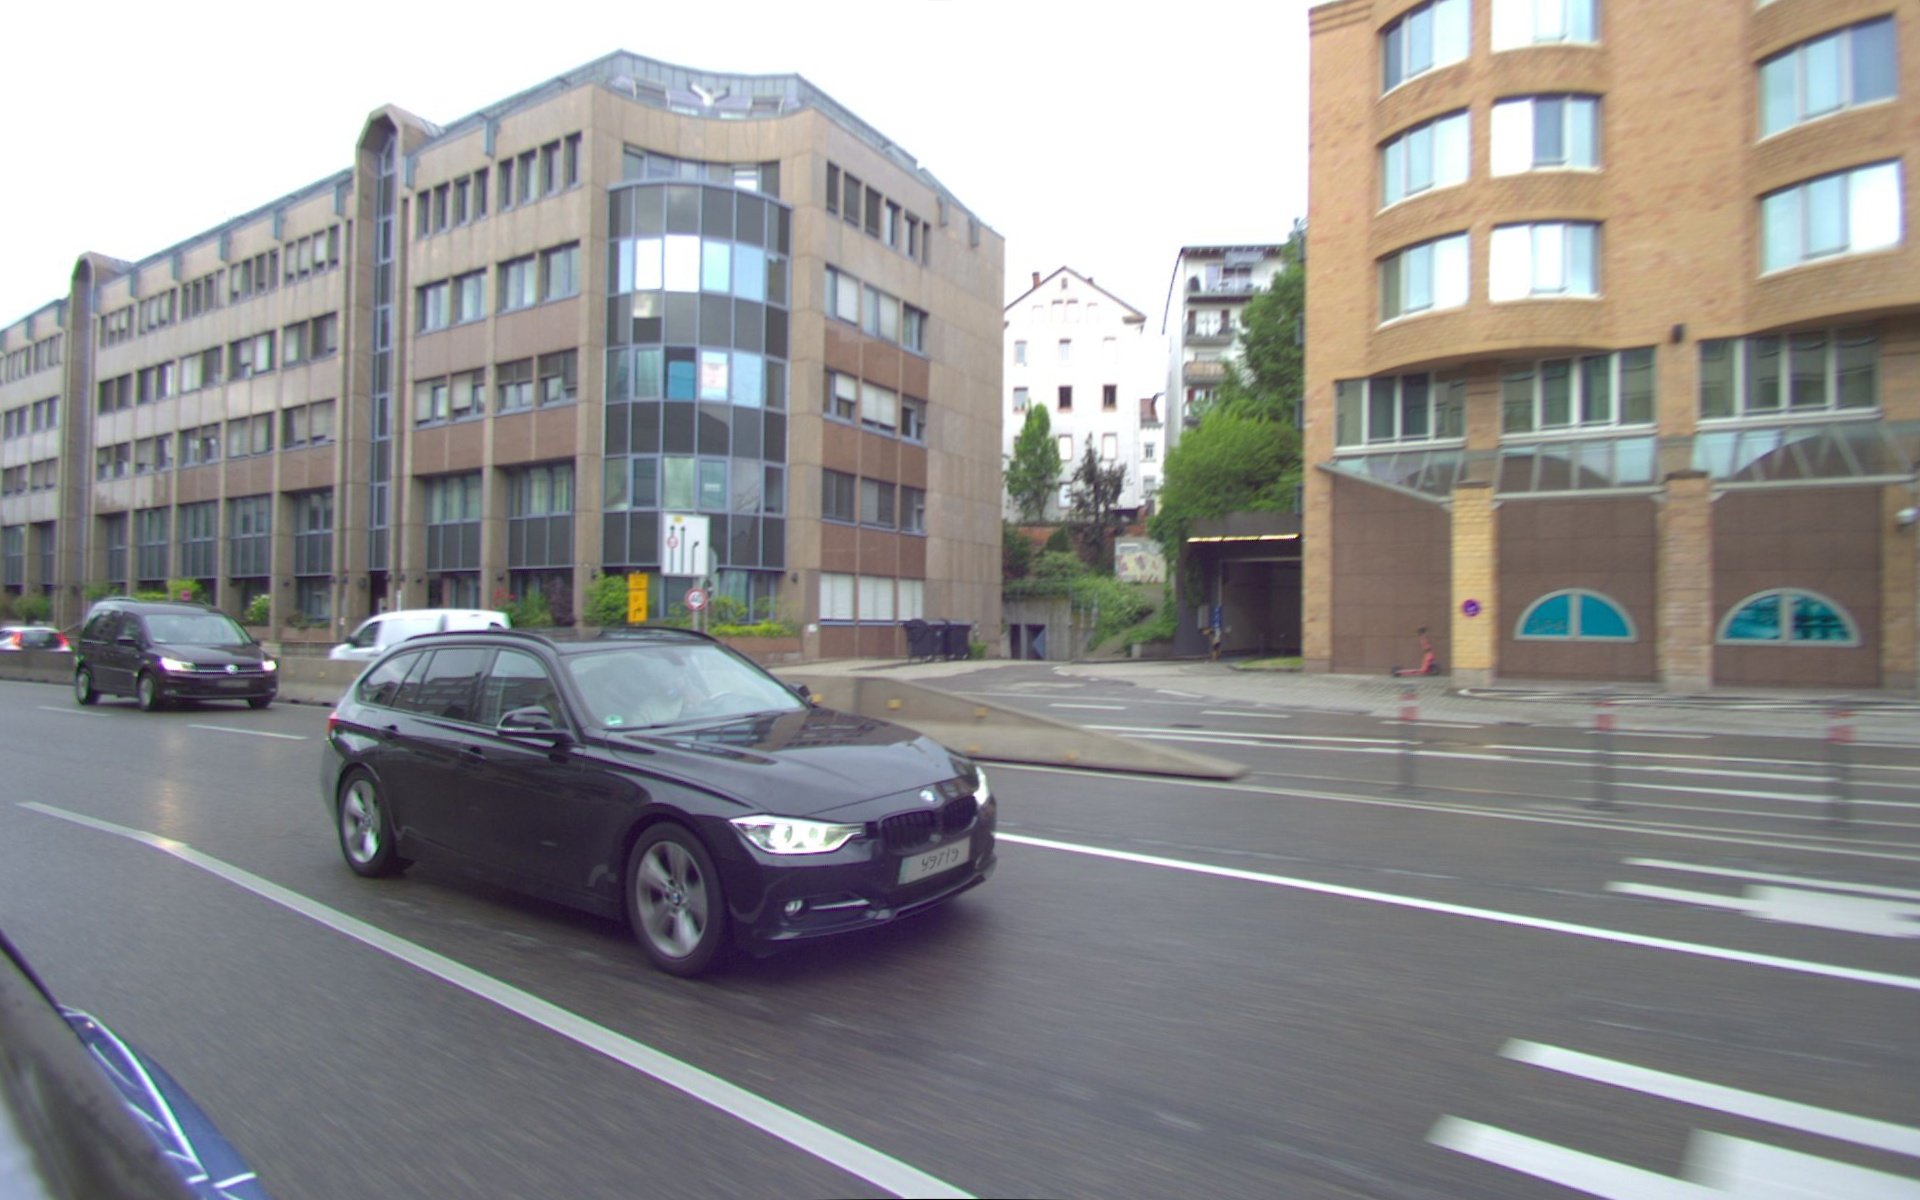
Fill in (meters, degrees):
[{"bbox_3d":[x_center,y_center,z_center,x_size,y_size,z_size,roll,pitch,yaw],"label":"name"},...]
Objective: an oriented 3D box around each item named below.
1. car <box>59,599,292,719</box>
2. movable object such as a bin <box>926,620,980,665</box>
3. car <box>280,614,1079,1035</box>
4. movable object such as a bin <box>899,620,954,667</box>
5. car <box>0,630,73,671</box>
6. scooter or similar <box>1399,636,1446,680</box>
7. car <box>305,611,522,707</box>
[{"bbox_3d":[-13.358,0.935,17.182,4.237,1.814,1.780,-1,-2,32],"label":"car"},{"bbox_3d":[-0.240,1.442,34.352,1.349,1.491,1.230,-2,-3,39],"label":"movable object such as a bin"},{"bbox_3d":[-1.803,0.839,5.604,4.646,1.454,1.752,-1,-2,36],"label":"car"},{"bbox_3d":[-1.100,1.411,33.203,1.349,1.491,1.231,-2,-3,39],"label":"movable object such as a bin"},{"bbox_3d":[-30.465,1.608,32.726,3.712,1.240,1.601,-1,-2,31],"label":"car"},{"bbox_3d":[11.590,1.442,25.374,1.037,1.071,0.447,-1,-2,21],"label":"scooter or similar"},{"bbox_3d":[-11.494,1.179,21.179,4.861,1.797,1.871,-1,-2,32],"label":"car"}]
